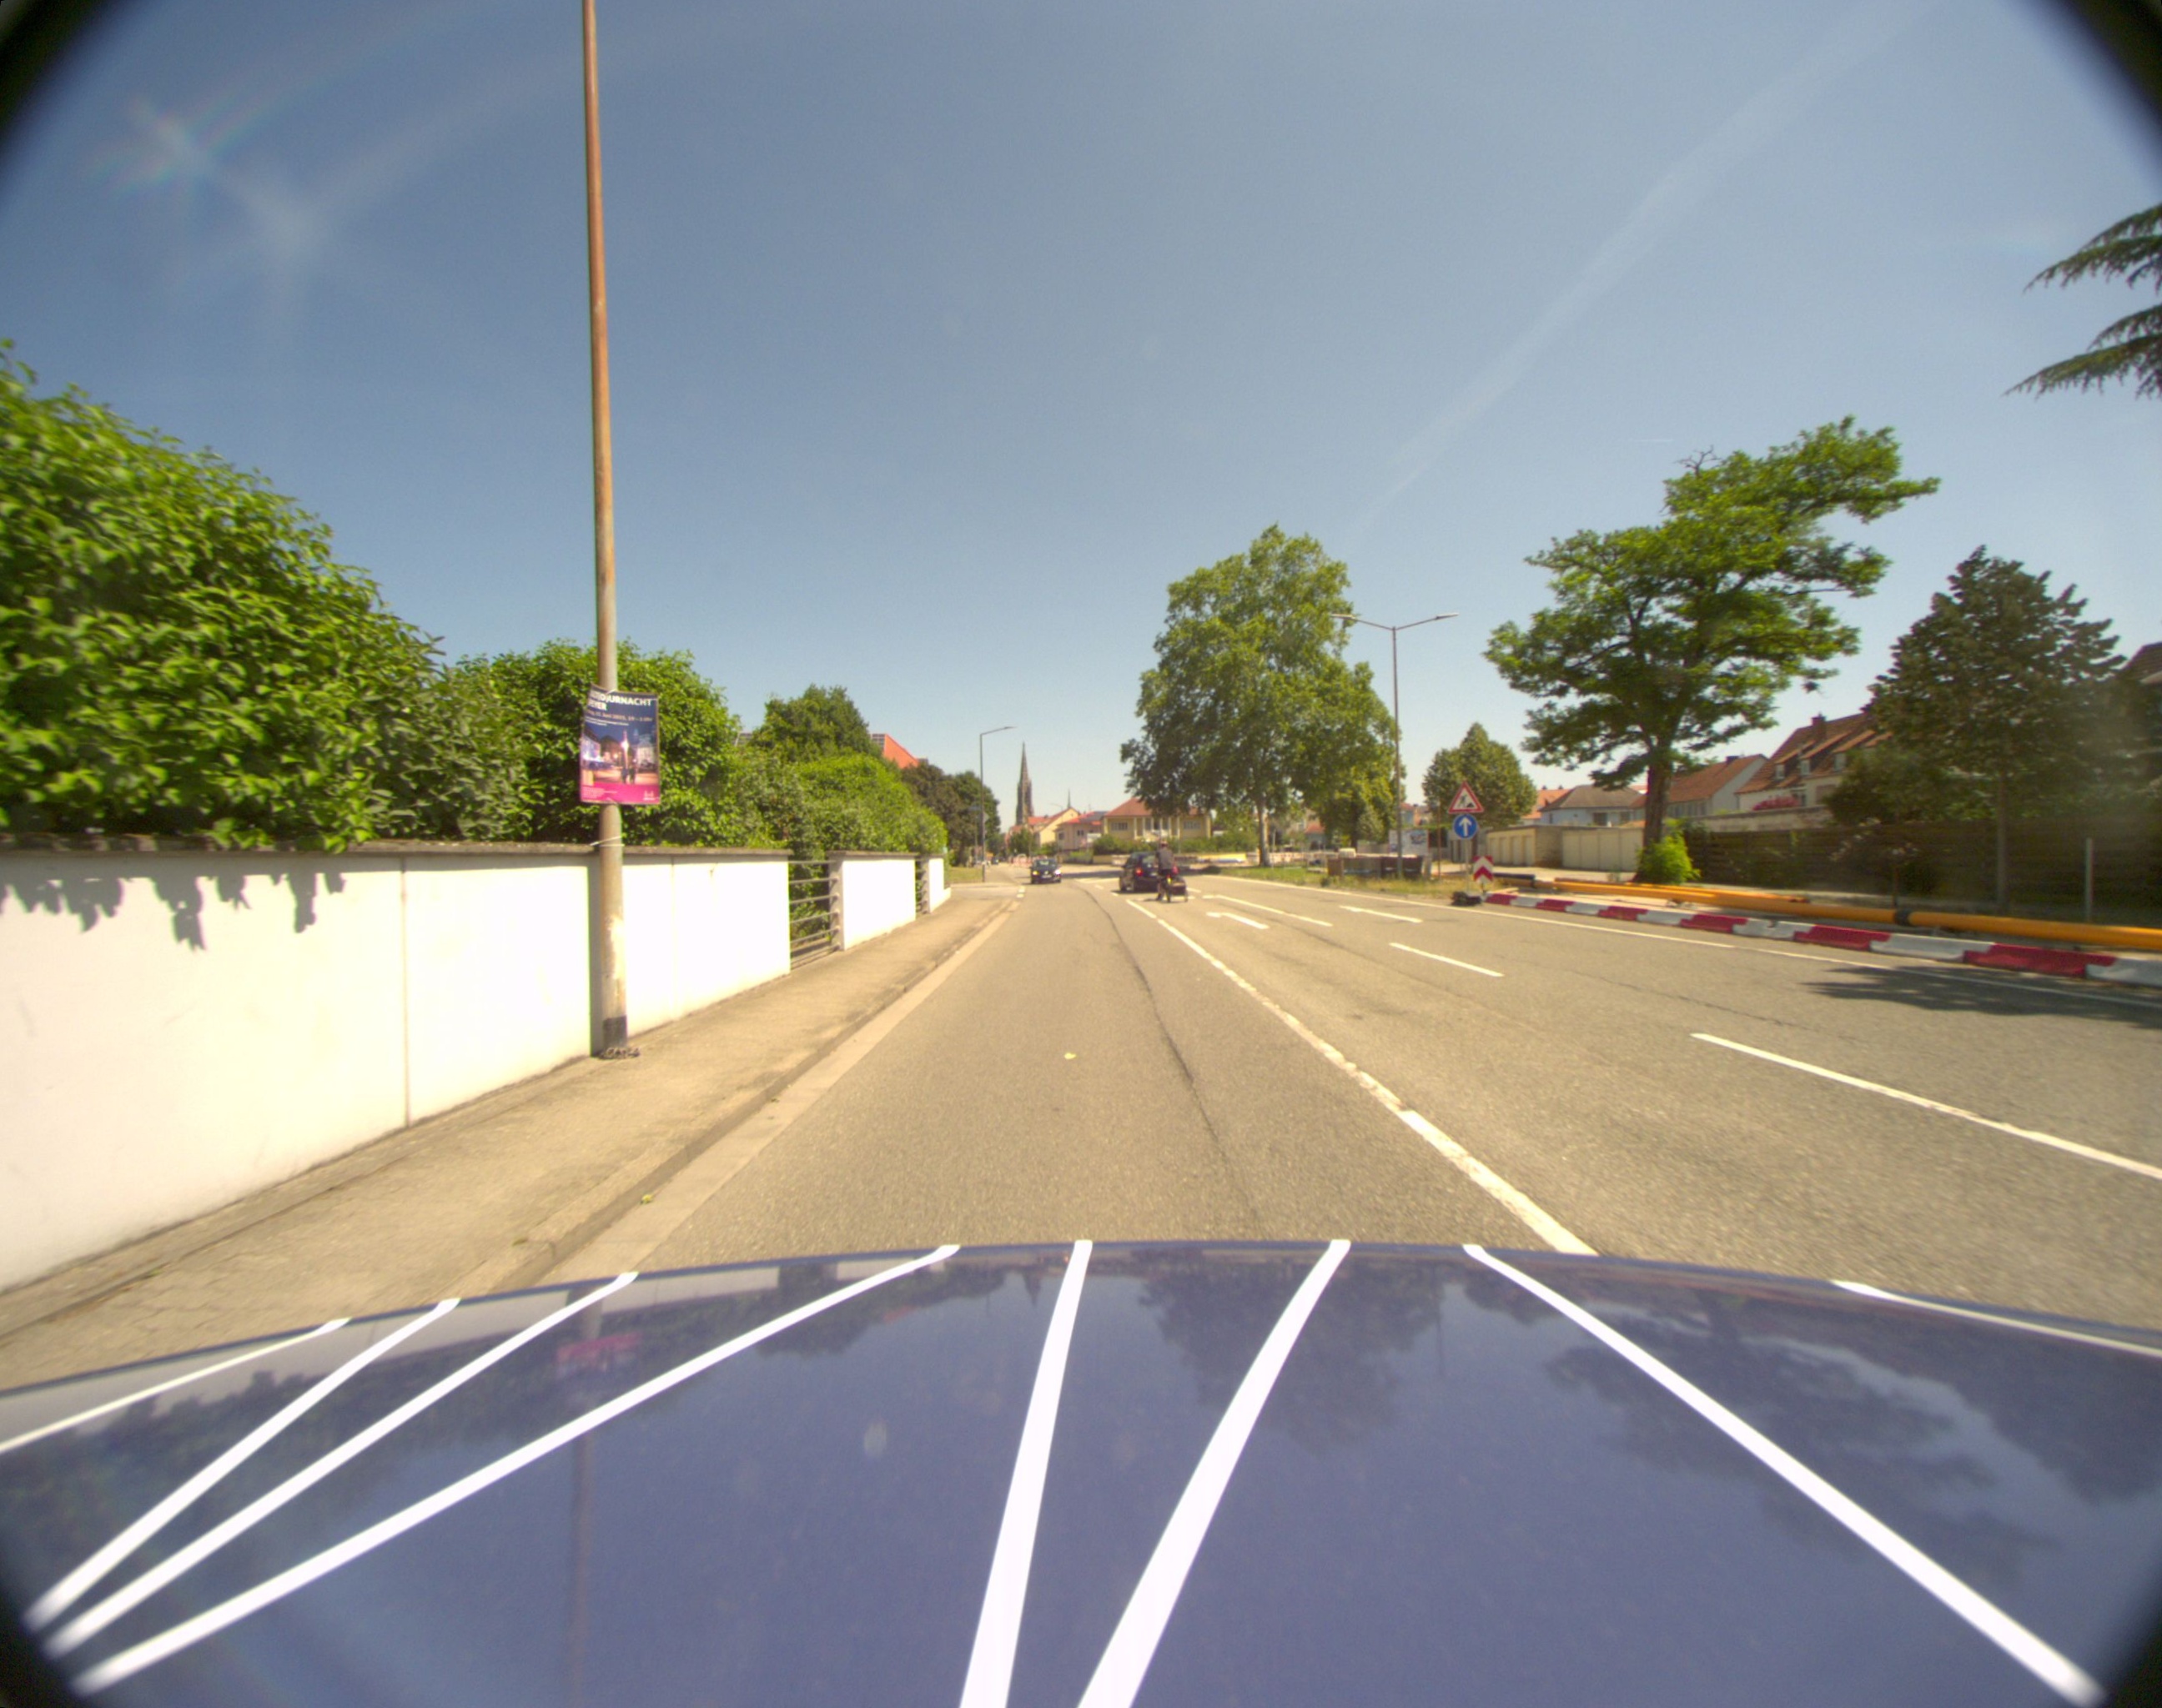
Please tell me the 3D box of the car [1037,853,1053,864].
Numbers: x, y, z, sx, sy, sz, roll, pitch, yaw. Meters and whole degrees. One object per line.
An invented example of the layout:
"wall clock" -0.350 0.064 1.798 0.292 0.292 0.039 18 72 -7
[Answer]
"car" -5.065 0.630 106.833 1.704 1.501 3.456 -4 1 -9

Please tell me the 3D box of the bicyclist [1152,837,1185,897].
"bicyclist" 2.787 0.393 24.276 0.848 1.855 0.976 -3 1 -3

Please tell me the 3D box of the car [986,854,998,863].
"car" -16.194 0.832 138.152 1.713 1.449 3.560 -1 0 -12

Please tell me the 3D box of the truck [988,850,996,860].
"truck" -29.425 0.318 249.774 2.224 2.921 5.345 -1 1 -10

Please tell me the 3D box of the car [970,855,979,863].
"car" -20.536 0.966 146.193 1.608 1.403 3.906 -3 1 -9

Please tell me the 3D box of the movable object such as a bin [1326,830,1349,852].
"movable object such as a bin" 32.996 -1.669 97.832 2.274 2.719 3.933 -1 1 11

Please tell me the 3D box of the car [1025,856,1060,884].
"car" -2.252 0.877 43.647 1.608 1.436 3.906 -3 1 -7

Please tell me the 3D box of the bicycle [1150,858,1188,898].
"bicycle" 2.797 0.754 24.357 0.852 1.159 1.976 -3 1 -3

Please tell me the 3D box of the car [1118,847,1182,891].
"car" 2.633 0.544 29.910 1.730 1.523 3.828 -3 1 -6

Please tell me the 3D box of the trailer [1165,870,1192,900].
"trailer" 2.916 0.916 22.805 0.572 0.851 1.132 -2 1 -3
